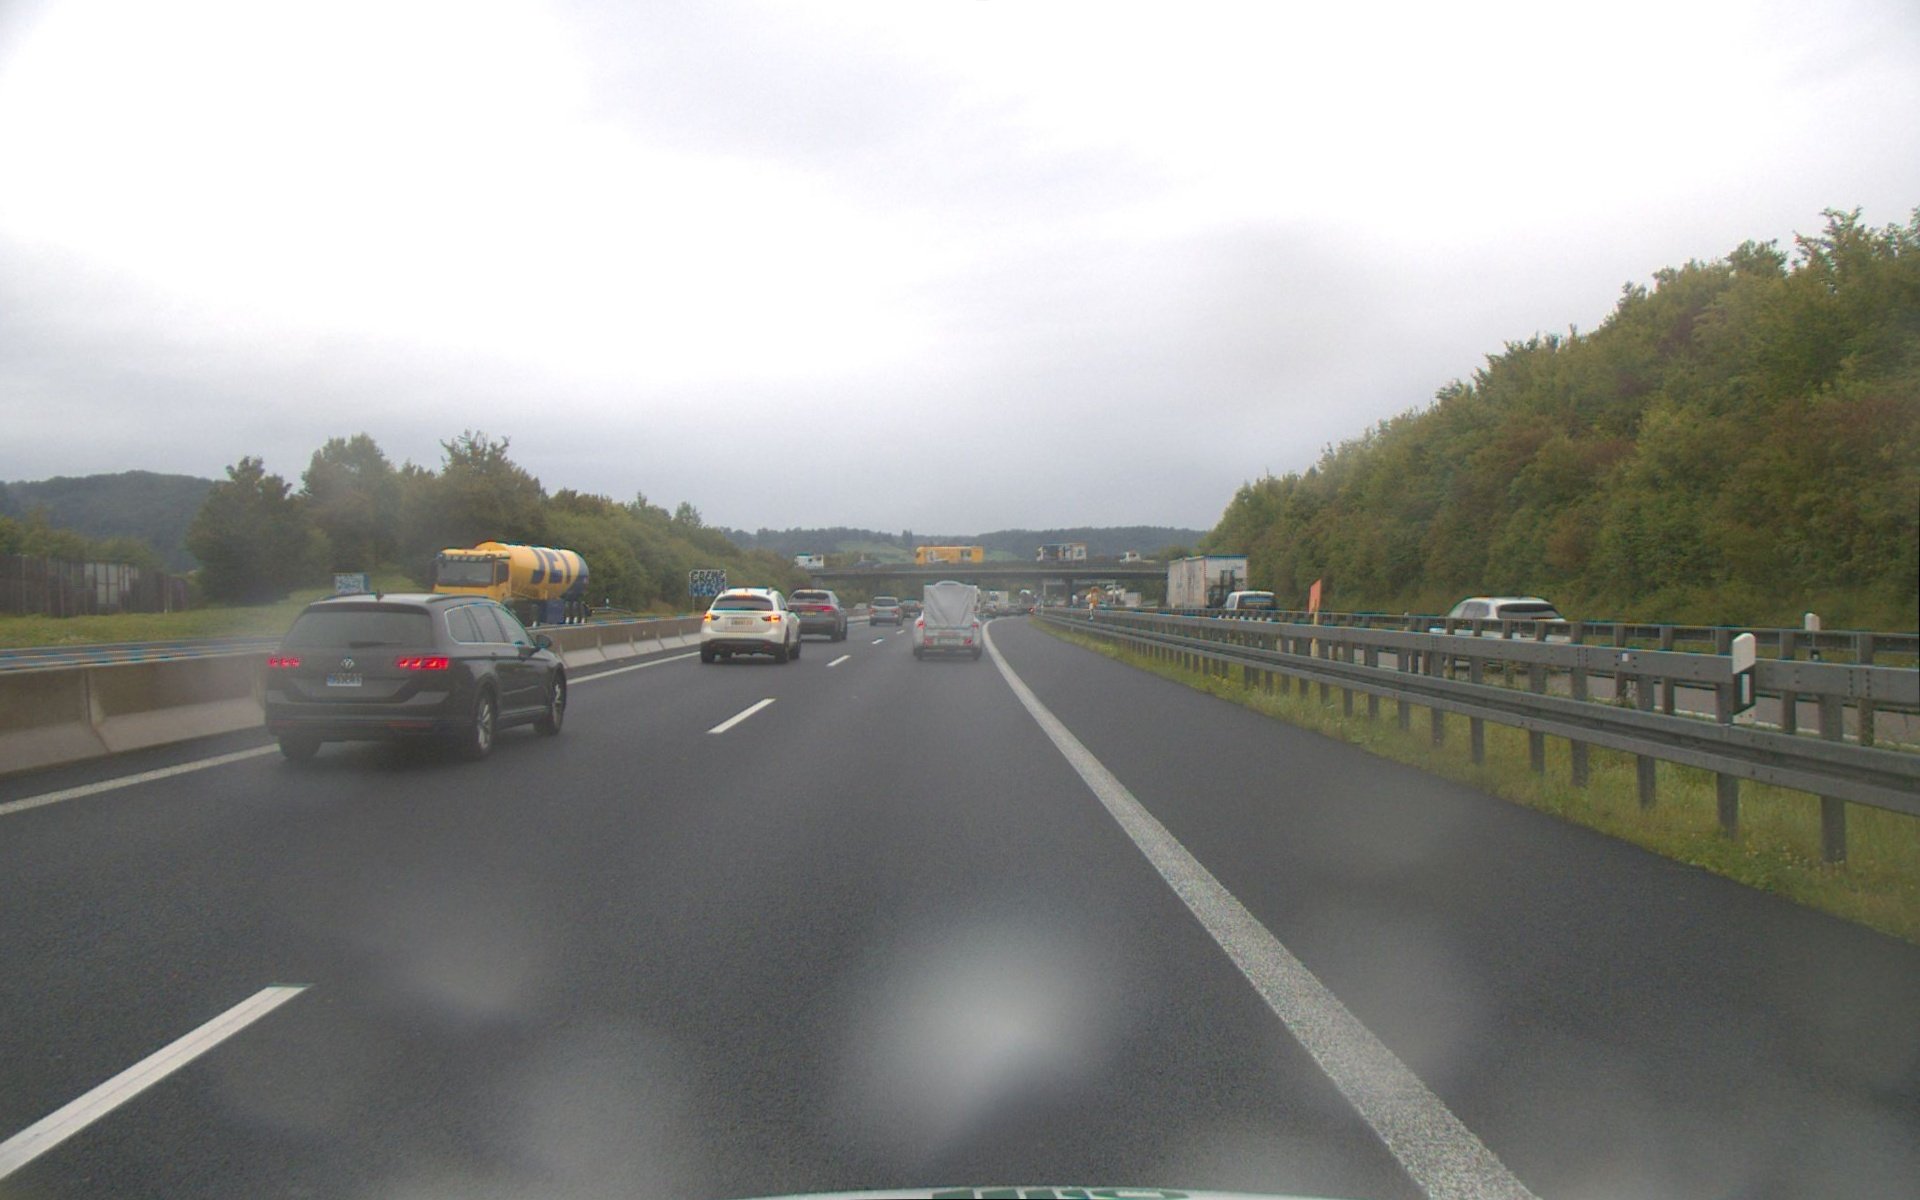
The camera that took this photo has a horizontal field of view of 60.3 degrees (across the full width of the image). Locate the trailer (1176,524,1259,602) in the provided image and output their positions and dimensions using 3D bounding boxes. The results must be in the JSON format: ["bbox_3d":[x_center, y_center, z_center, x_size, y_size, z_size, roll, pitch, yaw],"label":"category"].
[{"bbox_3d":[15.067,-2.091,97.679,3.366,4.364,10.454,0,0,0],"label":"trailer"}]

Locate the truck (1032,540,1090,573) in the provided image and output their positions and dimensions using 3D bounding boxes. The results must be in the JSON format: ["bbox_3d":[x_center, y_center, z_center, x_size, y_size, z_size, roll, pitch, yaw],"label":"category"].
[{"bbox_3d":[15.636,-6.747,257.076,3.736,4.920,9.918,0,0,-35],"label":"truck"}]

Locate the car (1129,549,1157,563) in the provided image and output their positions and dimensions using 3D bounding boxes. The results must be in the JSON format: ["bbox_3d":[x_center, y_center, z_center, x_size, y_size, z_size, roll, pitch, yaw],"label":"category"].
[{"bbox_3d":[26.682,-6.332,240.938,1.825,1.948,3.945,1,0,-39],"label":"car"}]

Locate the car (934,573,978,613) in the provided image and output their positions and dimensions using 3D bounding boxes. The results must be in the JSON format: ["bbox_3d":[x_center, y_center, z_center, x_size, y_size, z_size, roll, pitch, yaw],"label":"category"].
[{"bbox_3d":[-0.236,-0.496,114.493,2.954,2.662,6.075,0,0,1],"label":"car"}]

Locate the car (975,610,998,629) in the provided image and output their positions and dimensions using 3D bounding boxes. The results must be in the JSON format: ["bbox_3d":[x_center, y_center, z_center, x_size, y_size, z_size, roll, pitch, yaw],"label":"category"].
[{"bbox_3d":[2.645,1.946,164.590,1.954,1.780,3.997,1,0,-3],"label":"car"}]

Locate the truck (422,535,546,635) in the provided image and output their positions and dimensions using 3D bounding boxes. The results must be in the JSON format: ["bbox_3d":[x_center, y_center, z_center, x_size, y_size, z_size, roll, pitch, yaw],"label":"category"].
[{"bbox_3d":[-17.439,-0.538,60.988,2.704,3.458,5.846,1,0,1],"label":"truck"}]

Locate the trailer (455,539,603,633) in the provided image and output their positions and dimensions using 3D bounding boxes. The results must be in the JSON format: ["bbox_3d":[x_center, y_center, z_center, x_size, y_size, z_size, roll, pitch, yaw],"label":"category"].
[{"bbox_3d":[-17.299,-0.527,67.386,2.704,3.458,11.449,1,0,1],"label":"trailer"}]

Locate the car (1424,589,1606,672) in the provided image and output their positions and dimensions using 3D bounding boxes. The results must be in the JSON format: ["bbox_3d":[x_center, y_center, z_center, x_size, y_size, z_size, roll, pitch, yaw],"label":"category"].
[{"bbox_3d":[11.272,0.581,33.983,1.968,1.575,4.693,0,0,-3],"label":"car"}]

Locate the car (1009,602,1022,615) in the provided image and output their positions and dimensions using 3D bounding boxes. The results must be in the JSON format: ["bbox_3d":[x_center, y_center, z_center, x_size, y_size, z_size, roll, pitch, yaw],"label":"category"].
[{"bbox_3d":[8.070,1.240,241.285,1.952,1.780,4.001,1,0,2],"label":"car"}]

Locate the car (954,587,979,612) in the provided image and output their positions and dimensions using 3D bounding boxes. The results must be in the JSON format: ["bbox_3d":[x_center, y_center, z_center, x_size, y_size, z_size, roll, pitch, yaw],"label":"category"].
[{"bbox_3d":[0.546,-0.057,144.657,1.954,2.071,4.149,1,0,-3],"label":"car"}]

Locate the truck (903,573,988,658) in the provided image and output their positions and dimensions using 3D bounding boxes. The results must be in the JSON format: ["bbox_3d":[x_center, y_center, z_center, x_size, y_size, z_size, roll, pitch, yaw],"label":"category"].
[{"bbox_3d":[-0.280,0.349,42.990,1.977,2.020,7.214,0,0,1],"label":"truck"}]

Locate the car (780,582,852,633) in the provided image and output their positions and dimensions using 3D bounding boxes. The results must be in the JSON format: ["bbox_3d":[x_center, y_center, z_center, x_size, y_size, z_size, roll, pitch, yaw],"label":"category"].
[{"bbox_3d":[-4.880,0.238,56.552,2.130,1.660,4.499,0,0,-1],"label":"car"}]

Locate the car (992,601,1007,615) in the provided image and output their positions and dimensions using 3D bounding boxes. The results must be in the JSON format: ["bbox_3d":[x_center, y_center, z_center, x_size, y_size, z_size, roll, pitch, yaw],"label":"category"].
[{"bbox_3d":[5.110,1.078,213.926,1.952,1.780,4.000,1,0,1],"label":"car"}]

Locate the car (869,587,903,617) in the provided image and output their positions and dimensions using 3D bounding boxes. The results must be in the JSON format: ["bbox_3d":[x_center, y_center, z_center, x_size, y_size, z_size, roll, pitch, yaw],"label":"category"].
[{"bbox_3d":[-4.188,0.088,94.188,1.862,1.641,4.015,0,0,-2],"label":"car"}]

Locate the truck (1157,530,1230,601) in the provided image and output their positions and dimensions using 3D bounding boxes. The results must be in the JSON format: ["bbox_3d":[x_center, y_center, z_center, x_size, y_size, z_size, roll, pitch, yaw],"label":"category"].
[{"bbox_3d":[15.143,-2.176,108.045,3.366,4.364,10.418,0,0,0],"label":"truck"}]

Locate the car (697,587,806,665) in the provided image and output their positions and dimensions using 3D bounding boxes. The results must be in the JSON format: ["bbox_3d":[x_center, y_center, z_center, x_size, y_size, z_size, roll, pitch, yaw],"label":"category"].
[{"bbox_3d":[-4.719,0.555,38.023,1.935,1.668,4.500,0,0,0],"label":"car"}]

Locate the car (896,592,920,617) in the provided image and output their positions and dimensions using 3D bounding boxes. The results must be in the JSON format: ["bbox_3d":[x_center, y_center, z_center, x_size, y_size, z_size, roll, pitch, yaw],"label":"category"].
[{"bbox_3d":[-4.017,0.333,127.482,1.804,1.851,3.999,0,0,-2],"label":"car"}]

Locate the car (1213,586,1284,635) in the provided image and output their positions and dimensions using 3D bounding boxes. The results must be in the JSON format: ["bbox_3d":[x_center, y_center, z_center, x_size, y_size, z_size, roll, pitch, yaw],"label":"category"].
[{"bbox_3d":[11.109,0.393,64.048,1.822,1.837,4.646,0,0,-2],"label":"car"}]

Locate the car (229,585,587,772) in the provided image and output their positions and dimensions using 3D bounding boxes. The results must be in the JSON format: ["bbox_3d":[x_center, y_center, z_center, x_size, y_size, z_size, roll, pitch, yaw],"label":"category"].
[{"bbox_3d":[-5.041,0.641,15.910,1.862,1.523,4.851,0,0,-1],"label":"car"}]
